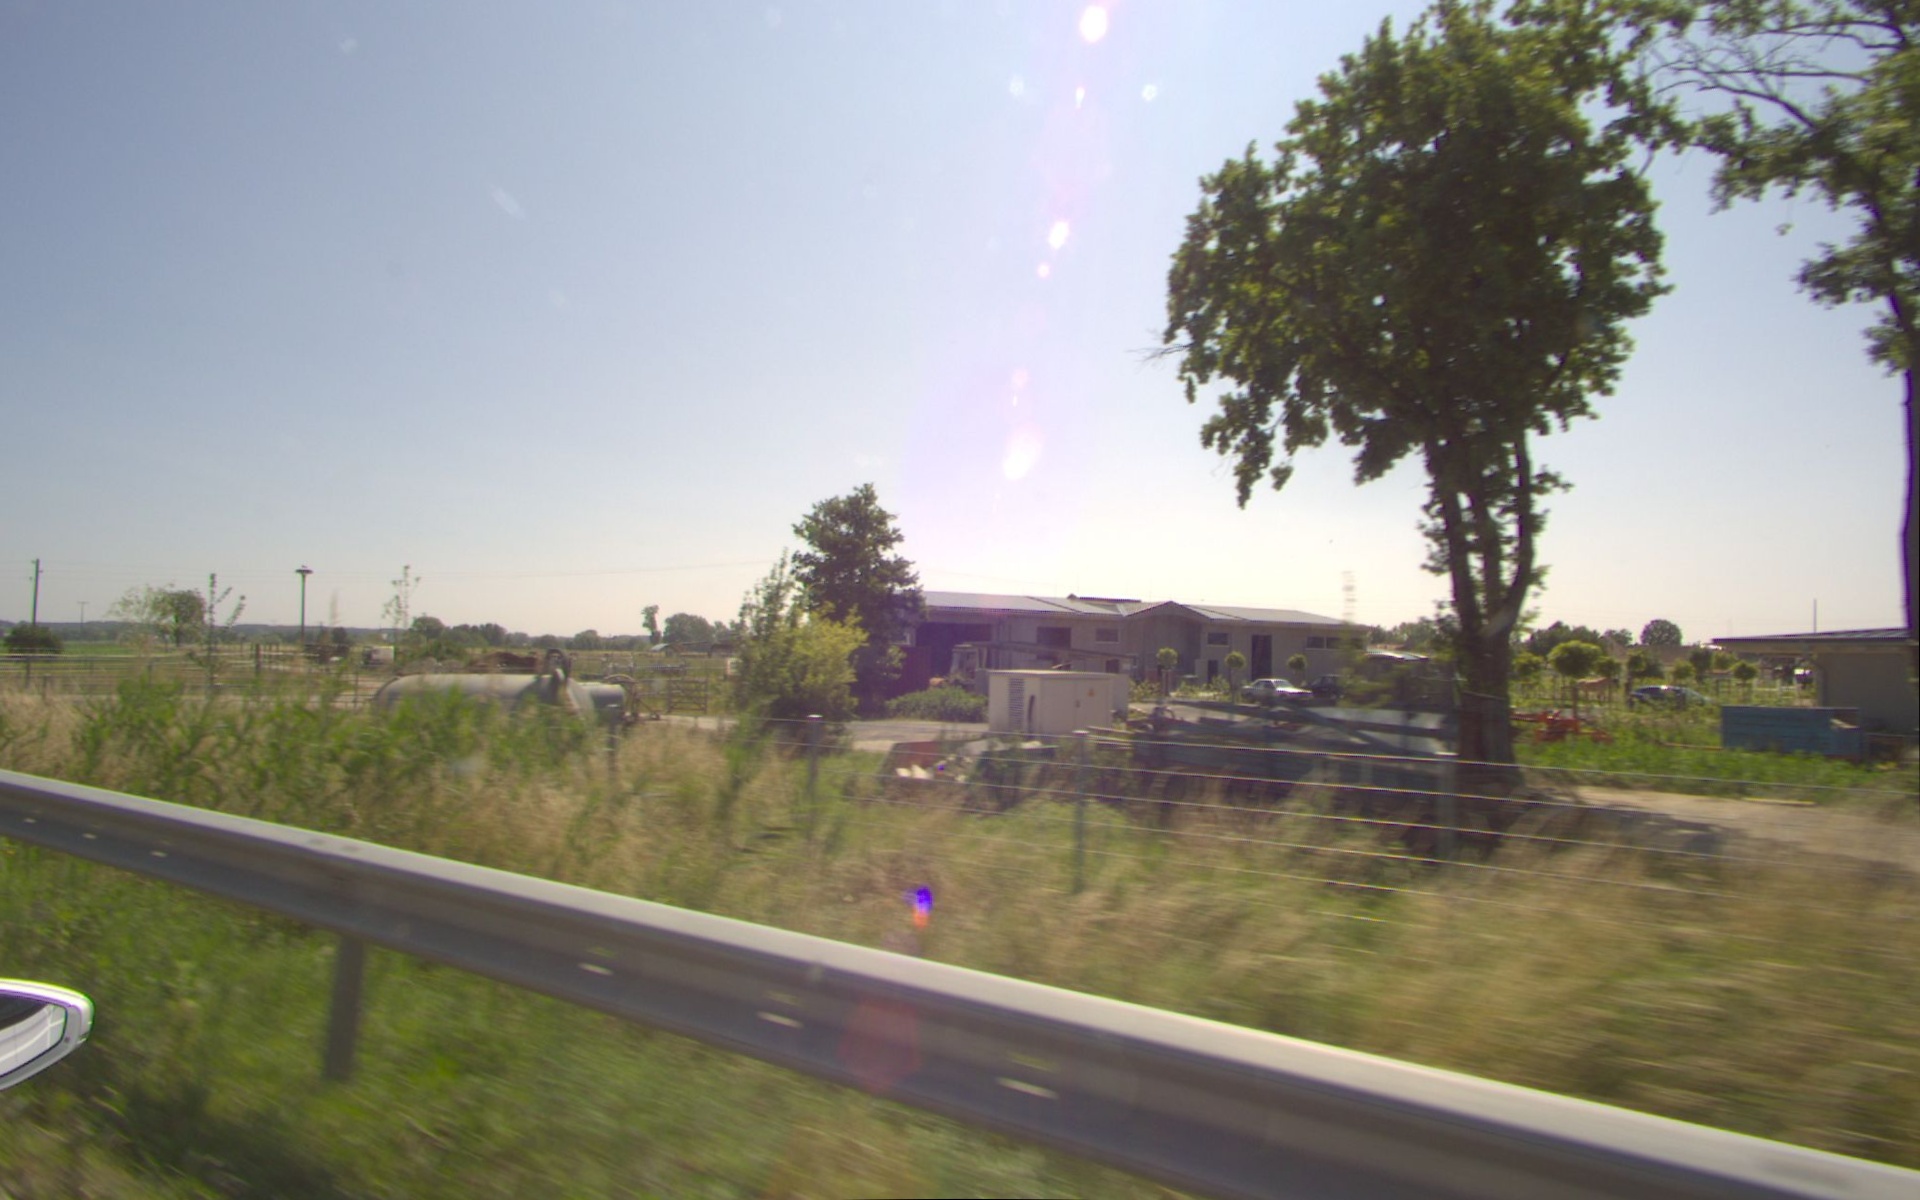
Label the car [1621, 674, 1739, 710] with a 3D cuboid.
[{"bbox_3d":[35.986,4.573,50.186,1.970,1.593,4.443,3,-4,-26],"label":"car"}]

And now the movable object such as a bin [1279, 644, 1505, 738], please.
[{"bbox_3d":[14.506,3.009,34.048,2.977,2.803,6.460,5,-4,-36],"label":"movable object such as a bin"}]

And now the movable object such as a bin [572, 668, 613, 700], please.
[{"bbox_3d":[-16.125,3.669,43.928,1.355,1.366,1.508,3,-4,-32],"label":"movable object such as a bin"}]

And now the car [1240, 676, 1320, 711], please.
[{"bbox_3d":[17.244,5.026,54.079,1.970,1.594,3.861,3,-3,-26],"label":"car"}]

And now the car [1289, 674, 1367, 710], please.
[{"bbox_3d":[20.572,5.127,56.140,1.888,1.726,3.861,3,-3,-26],"label":"car"}]

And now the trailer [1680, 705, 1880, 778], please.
[{"bbox_3d":[18.856,3.213,23.189,1.686,1.513,3.140,2,-5,-16],"label":"trailer"}]
